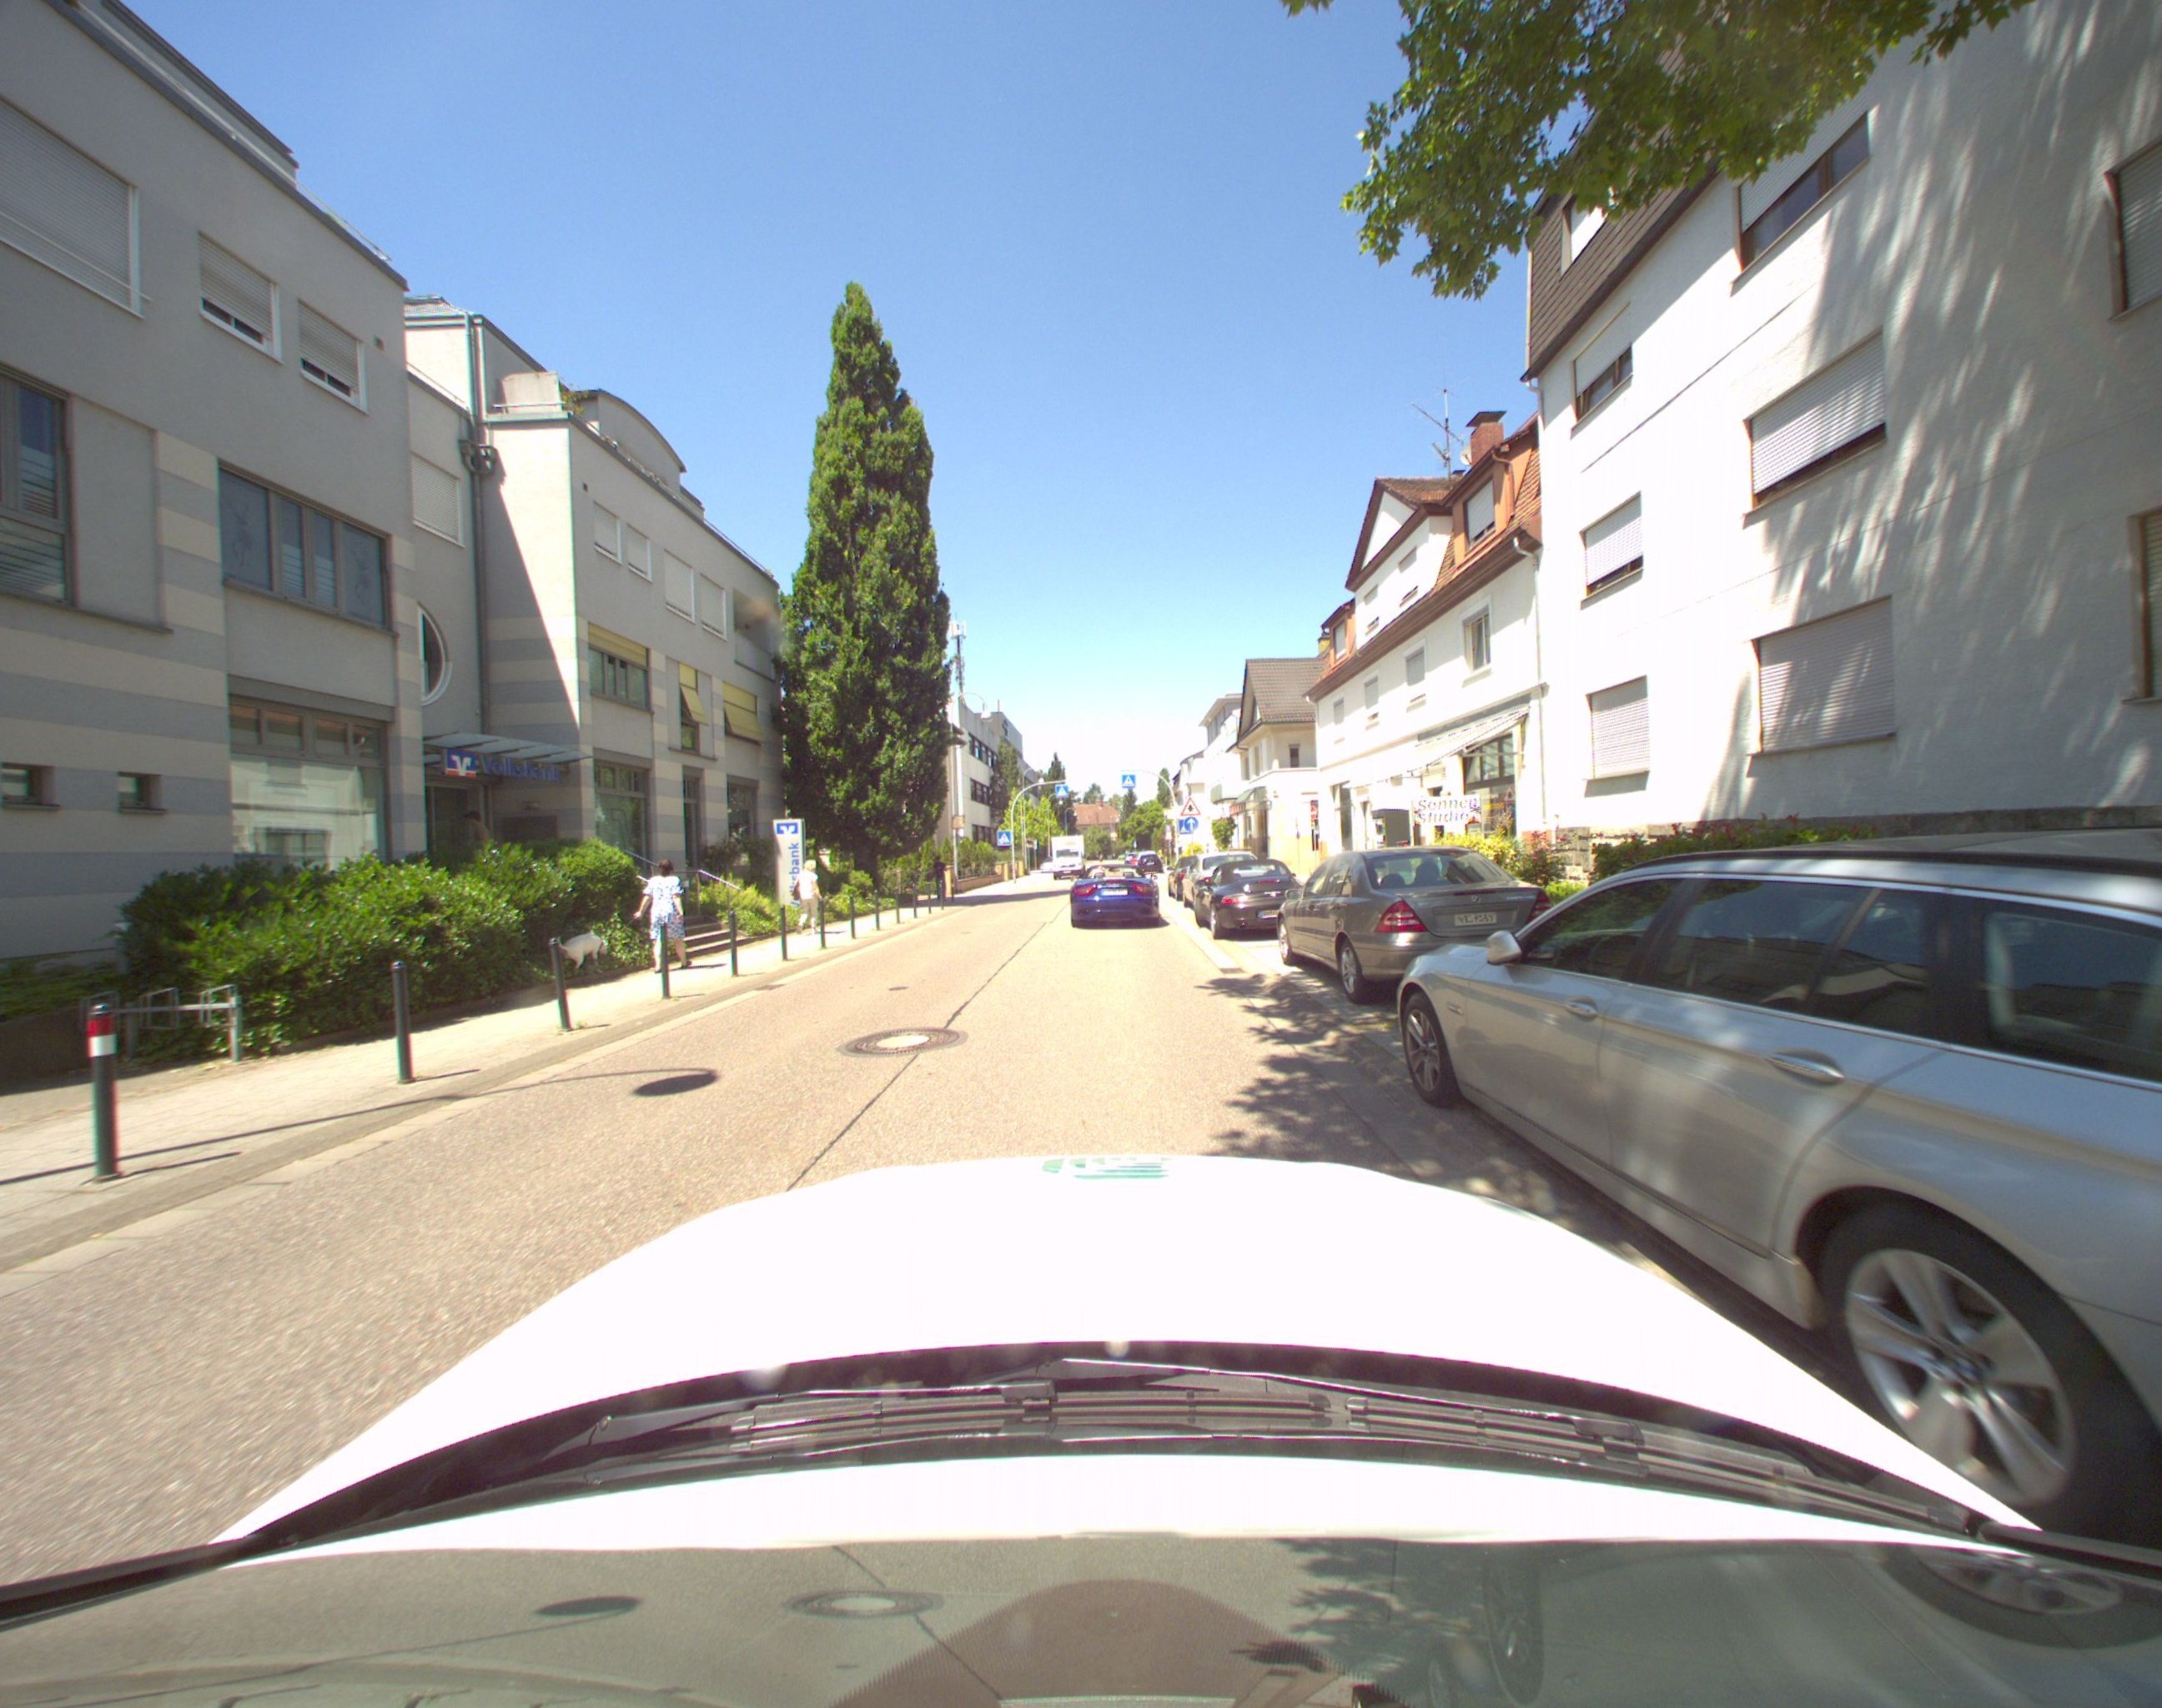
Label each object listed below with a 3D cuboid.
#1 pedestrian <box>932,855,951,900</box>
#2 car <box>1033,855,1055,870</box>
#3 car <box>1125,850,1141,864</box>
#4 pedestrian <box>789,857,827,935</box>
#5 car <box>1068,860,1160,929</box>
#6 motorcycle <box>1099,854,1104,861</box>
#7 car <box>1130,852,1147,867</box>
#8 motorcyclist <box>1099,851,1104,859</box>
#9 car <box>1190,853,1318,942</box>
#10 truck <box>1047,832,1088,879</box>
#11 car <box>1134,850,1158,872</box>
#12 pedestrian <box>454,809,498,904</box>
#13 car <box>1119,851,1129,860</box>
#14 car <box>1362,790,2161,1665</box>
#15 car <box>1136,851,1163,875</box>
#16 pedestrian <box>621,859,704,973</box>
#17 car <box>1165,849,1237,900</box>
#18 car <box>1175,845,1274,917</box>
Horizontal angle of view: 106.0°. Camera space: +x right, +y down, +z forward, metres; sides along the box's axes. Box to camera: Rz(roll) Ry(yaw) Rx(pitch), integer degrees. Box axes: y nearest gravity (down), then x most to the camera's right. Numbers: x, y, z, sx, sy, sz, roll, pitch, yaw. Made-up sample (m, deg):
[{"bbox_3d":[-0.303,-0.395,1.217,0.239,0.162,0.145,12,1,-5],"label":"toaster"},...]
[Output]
[{"bbox_3d":[-5.393,0.897,31.398,0.534,1.685,0.709,-2,-1,2],"label":"pedestrian"},{"bbox_3d":[-3.656,0.864,80.895,1.815,1.411,4.580,-1,0,2],"label":"car"},{"bbox_3d":[6.708,0.378,104.838,1.836,1.619,4.430,-4,0,3],"label":"car"},{"bbox_3d":[-6.023,0.910,18.005,0.534,1.685,0.709,-2,-1,2],"label":"pedestrian"},{"bbox_3d":[0.755,0.836,18.781,1.820,1.337,4.702,-1,0,2],"label":"car"},{"bbox_3d":[3.795,0.662,149.721,0.696,1.107,1.791,-4,0,3],"label":"motorcycle"},{"bbox_3d":[6.202,0.566,87.965,1.597,1.440,3.856,-5,0,3],"label":"car"},{"bbox_3d":[3.775,0.233,149.623,0.696,1.433,0.708,-4,0,3],"label":"motorcyclist"},{"bbox_3d":[3.052,0.703,15.152,1.552,1.340,4.175,-4,0,2],"label":"car"},{"bbox_3d":[-0.852,0.098,57.742,2.410,2.983,6.261,-3,0,2],"label":"truck"},{"bbox_3d":[5.270,0.534,66.069,1.698,1.666,4.583,-3,0,2],"label":"car"},{"bbox_3d":[-11.367,0.039,15.320,0.584,1.739,0.605,-2,-1,-34],"label":"pedestrian"},{"bbox_3d":[8.547,0.226,161.468,1.813,1.588,4.107,-4,-1,6],"label":"car"},{"bbox_3d":[2.790,0.597,3.144,1.822,1.511,4.761,-4,0,2],"label":"car"},{"bbox_3d":[5.003,0.640,60.223,1.698,1.556,4.751,-4,0,2],"label":"car"},{"bbox_3d":[-6.370,0.923,12.446,0.745,1.645,0.849,-2,0,2],"label":"pedestrian"},{"bbox_3d":[3.882,0.631,27.079,1.820,1.427,4.702,-3,0,2],"label":"car"},{"bbox_3d":[3.515,0.617,20.745,1.737,1.468,4.854,-5,0,2],"label":"car"}]
